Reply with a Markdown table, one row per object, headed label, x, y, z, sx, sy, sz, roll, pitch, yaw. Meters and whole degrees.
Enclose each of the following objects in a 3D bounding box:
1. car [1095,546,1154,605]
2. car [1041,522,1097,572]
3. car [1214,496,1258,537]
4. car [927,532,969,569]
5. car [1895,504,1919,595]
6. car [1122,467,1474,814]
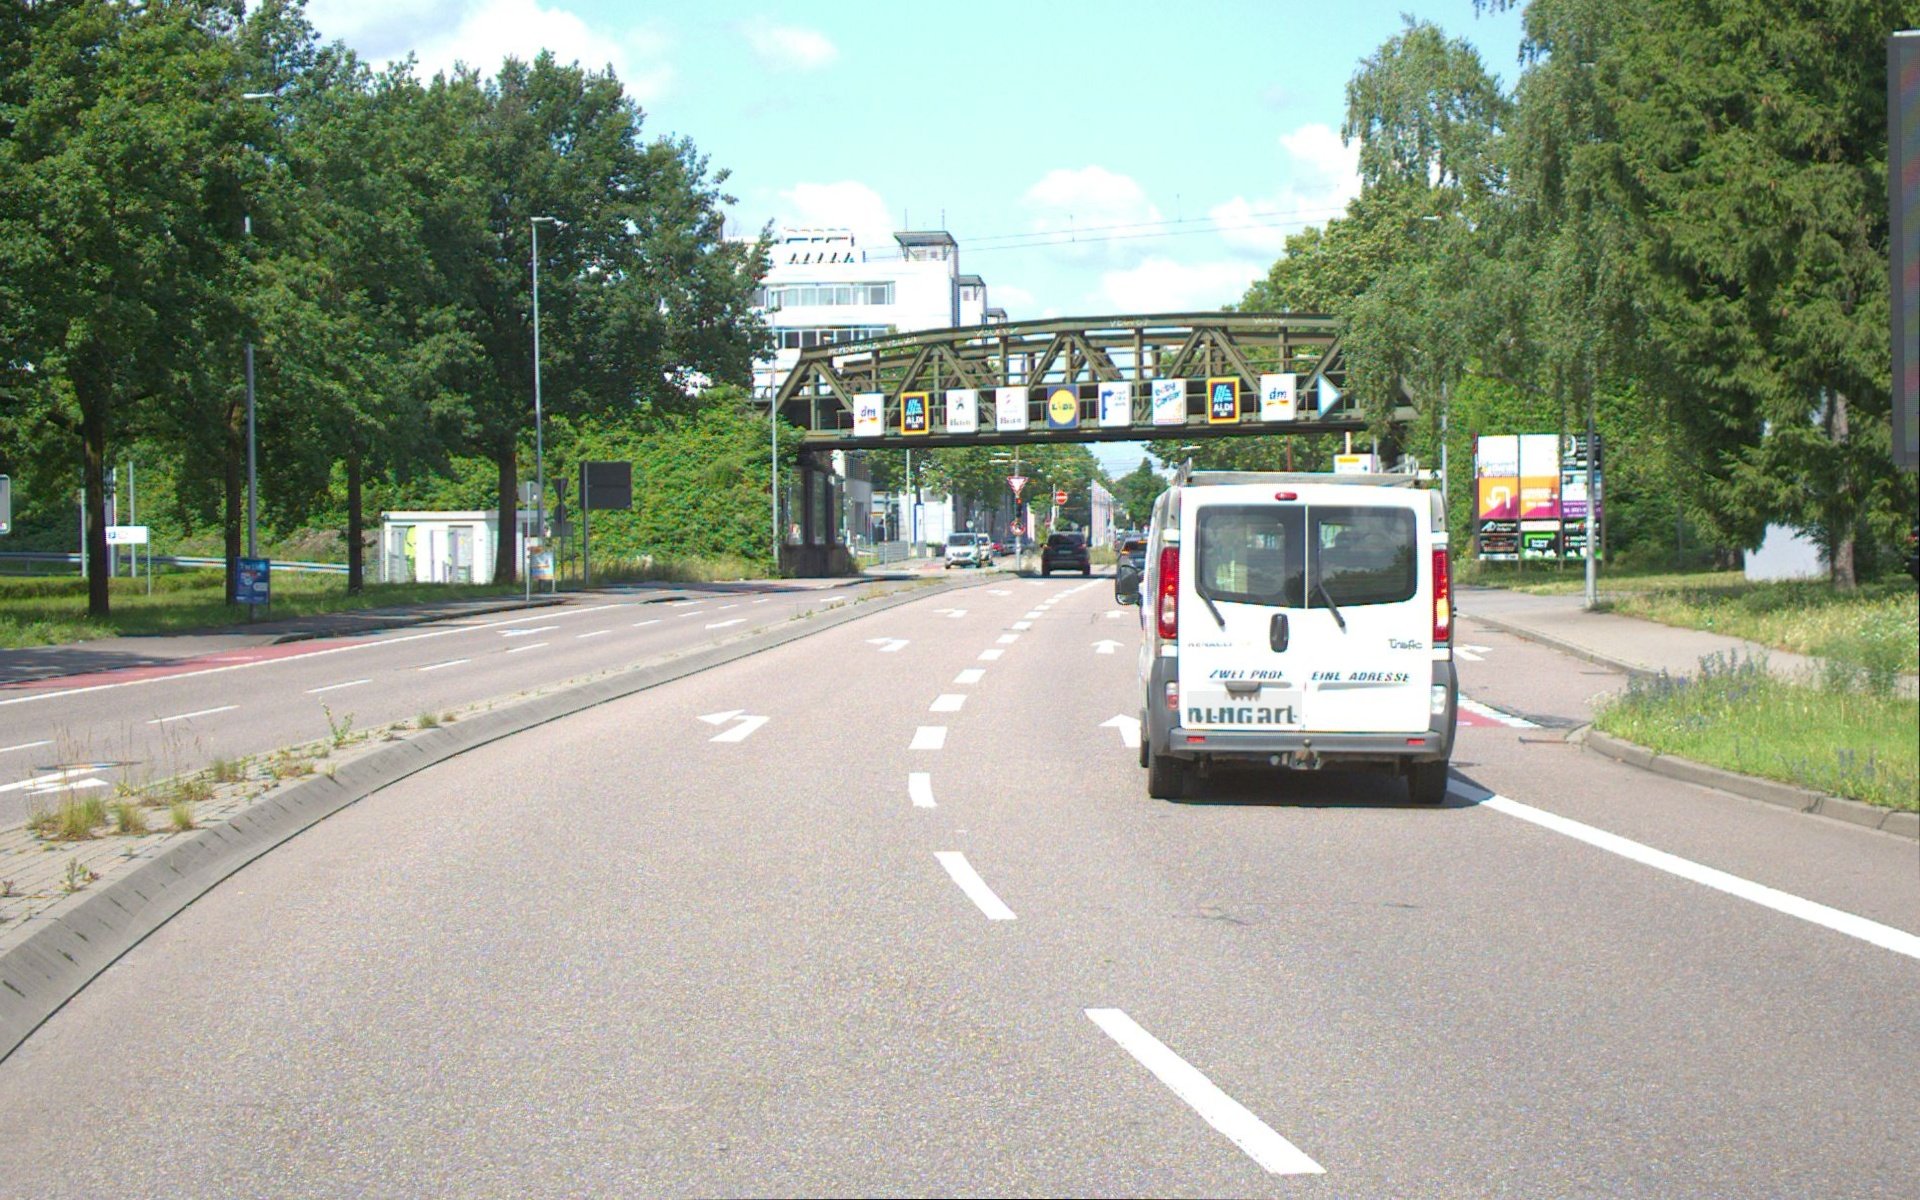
| label | x | y | z | sx | sy | sz | roll | pitch | yaw |
| --- | --- | --- | --- | --- | --- | --- | --- | --- | --- |
| car | 5.827 | -0.874 | 121.357 | 1.994 | 2.007 | 4.000 | -1 | 1 | 4 |
| car | 4.216 | -2.056 | 132.769 | 1.994 | 1.765 | 4.000 | 0 | 3 | 4 |
| car | 17.121 | -5.188 | 213.231 | 2.379 | 2.467 | 4.760 | -1 | 1 | 9 |
| car | -0.679 | -2.815 | 194.885 | 1.994 | 2.007 | 3.999 | -1 | 1 | 5 |
| car | 18.588 | -0.875 | 59.387 | 4.355 | 1.507 | 1.936 | 0 | 3 | 2 |
| car | 2.111 | 0.155 | 22.671 | 1.973 | 2.052 | 4.565 | 0 | 2 | 1 |
